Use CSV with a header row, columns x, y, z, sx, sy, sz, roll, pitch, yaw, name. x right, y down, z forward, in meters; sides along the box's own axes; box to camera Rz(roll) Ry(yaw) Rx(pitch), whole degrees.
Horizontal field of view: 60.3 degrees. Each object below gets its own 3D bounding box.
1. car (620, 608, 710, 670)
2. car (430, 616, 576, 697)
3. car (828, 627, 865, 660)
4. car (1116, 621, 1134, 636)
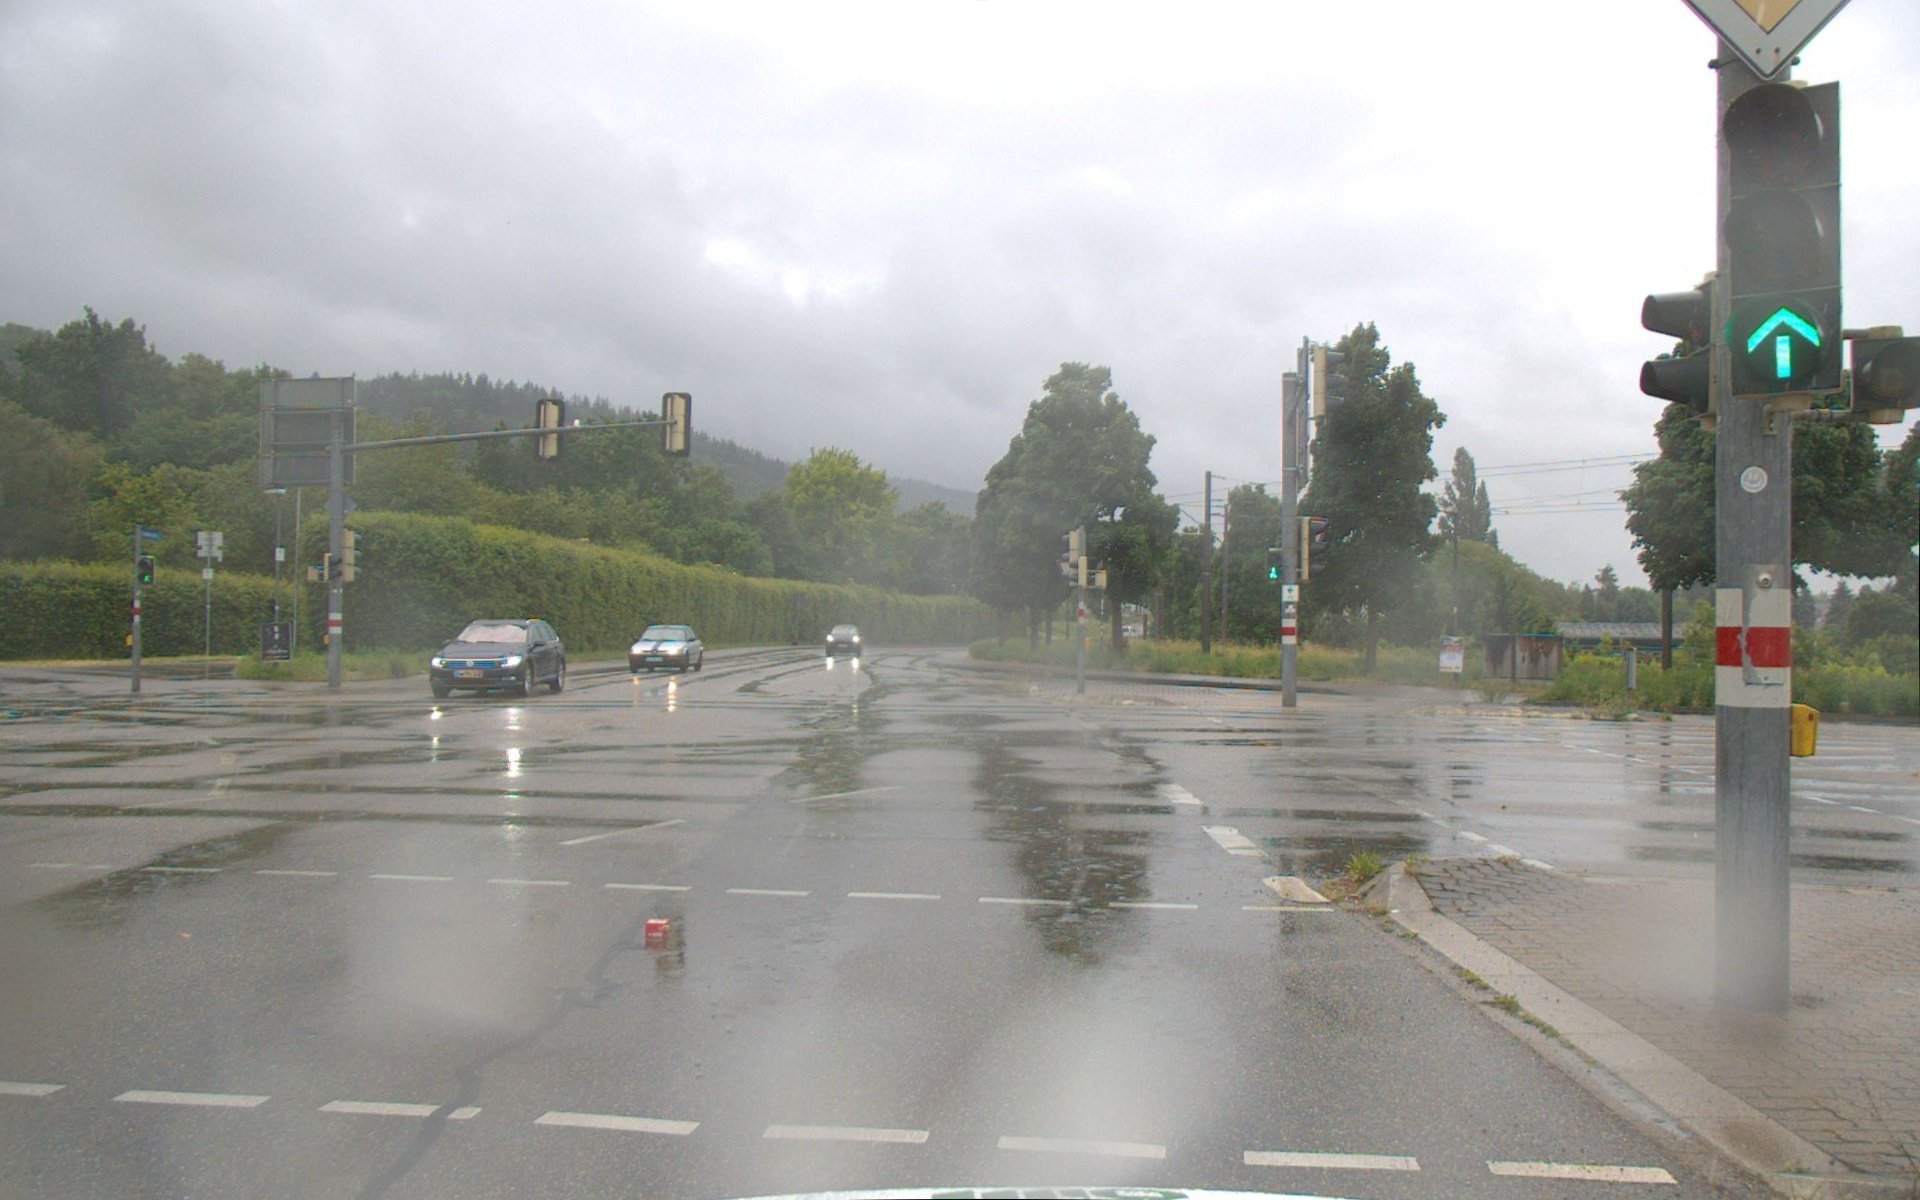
x,y,z,sx,sy,sz,roll,pitch,yaw,name
-8.804,1.132,49.712,1.995,1.738,4.065,1,0,-1,car
-8.978,1.077,32.869,1.674,1.491,4.452,1,-1,0,car
-5.785,2.205,84.975,1.749,1.531,4.059,1,0,-2,car
21.403,3.685,214.432,1.912,1.937,4.123,0,-1,13,car
